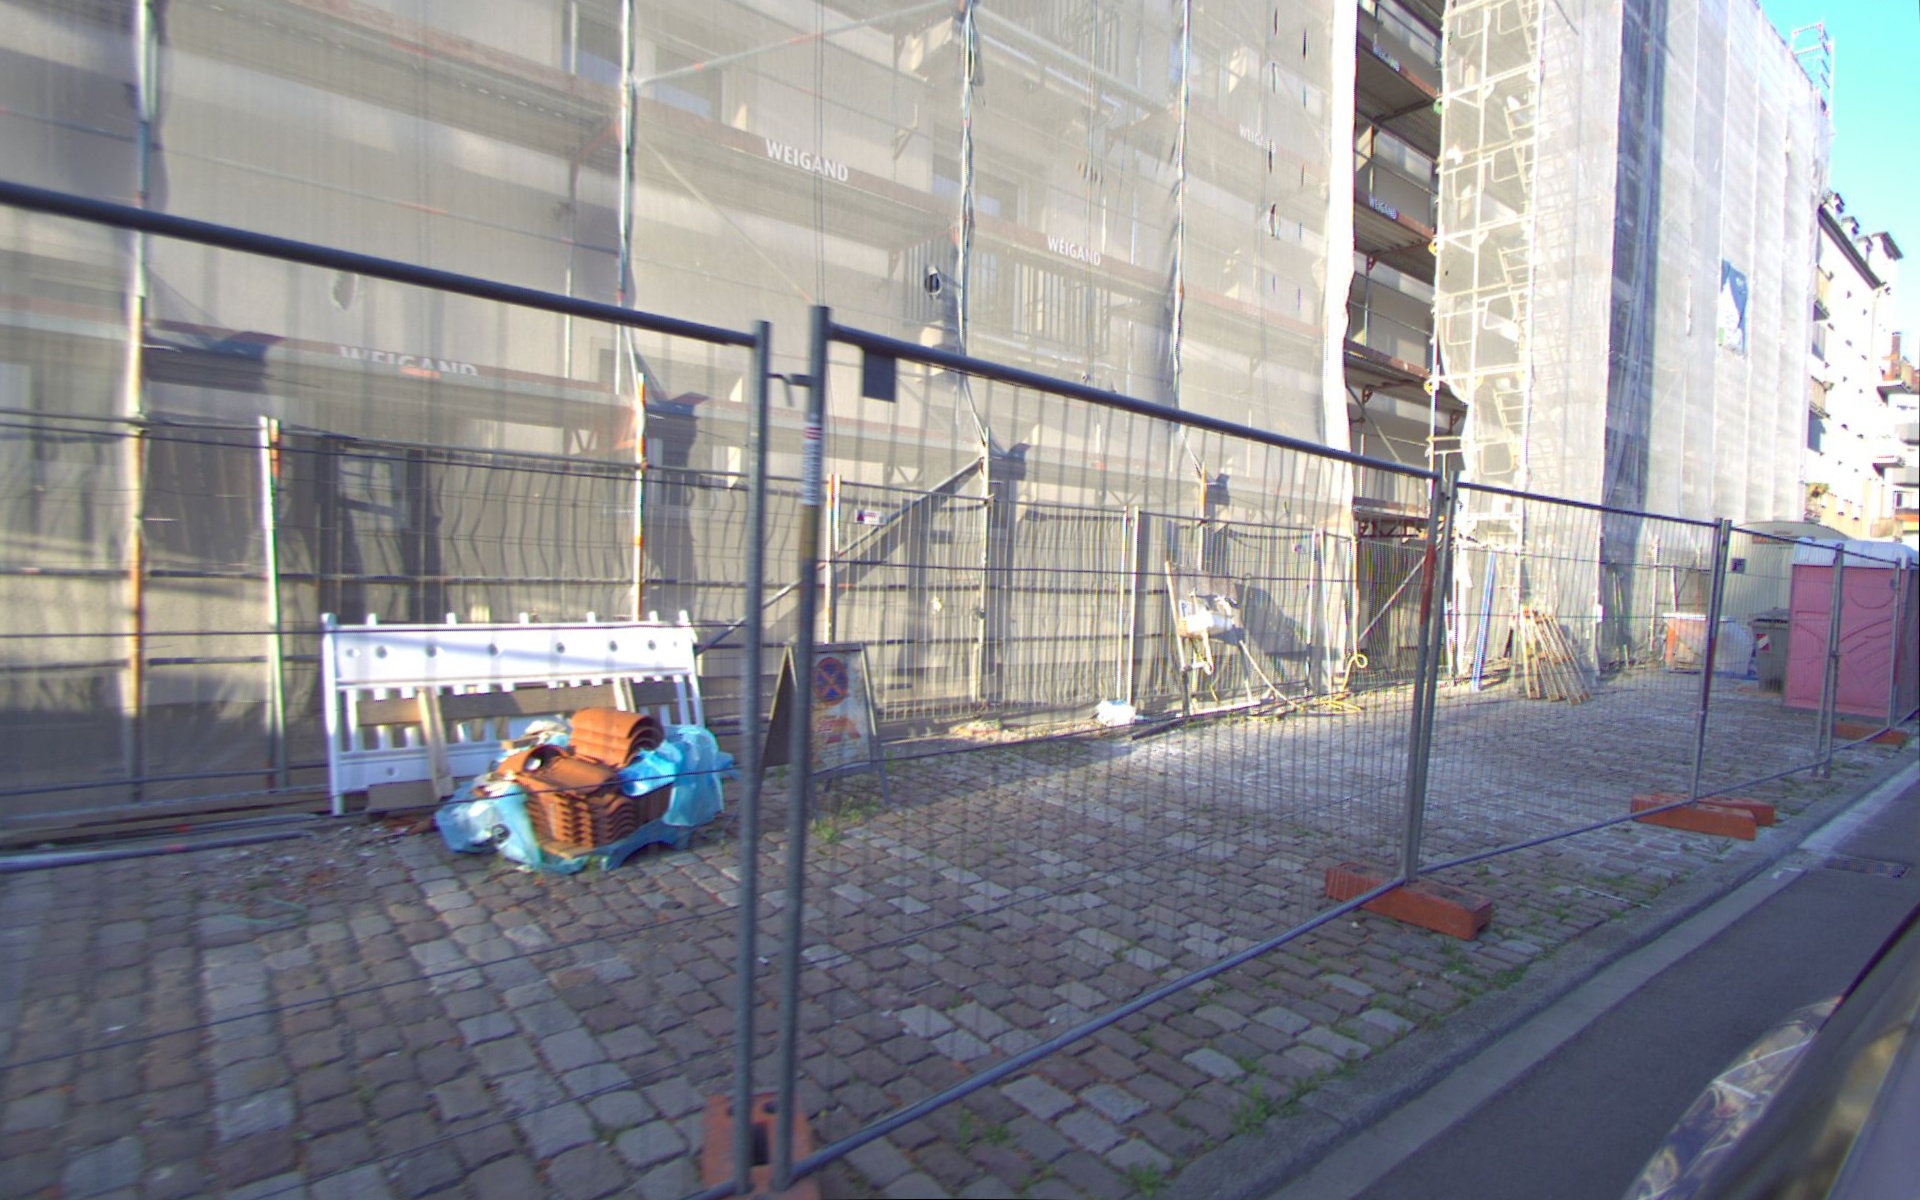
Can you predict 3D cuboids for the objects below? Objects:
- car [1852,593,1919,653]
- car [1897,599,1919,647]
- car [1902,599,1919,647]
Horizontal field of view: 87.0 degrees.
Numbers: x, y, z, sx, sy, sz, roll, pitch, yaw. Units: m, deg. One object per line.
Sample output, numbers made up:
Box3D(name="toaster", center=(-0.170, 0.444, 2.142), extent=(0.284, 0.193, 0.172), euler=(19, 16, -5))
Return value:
Box3D(name="car", center=(27.906, 0.703, 28.295), extent=(1.837, 1.635, 4.165), euler=(1, 1, -38))
Box3D(name="car", center=(33.619, 0.845, 33.265), extent=(1.758, 1.591, 3.970), euler=(1, 2, -42))
Box3D(name="car", center=(35.248, 0.867, 34.820), extent=(1.871, 1.658, 3.993), euler=(1, 2, -42))
